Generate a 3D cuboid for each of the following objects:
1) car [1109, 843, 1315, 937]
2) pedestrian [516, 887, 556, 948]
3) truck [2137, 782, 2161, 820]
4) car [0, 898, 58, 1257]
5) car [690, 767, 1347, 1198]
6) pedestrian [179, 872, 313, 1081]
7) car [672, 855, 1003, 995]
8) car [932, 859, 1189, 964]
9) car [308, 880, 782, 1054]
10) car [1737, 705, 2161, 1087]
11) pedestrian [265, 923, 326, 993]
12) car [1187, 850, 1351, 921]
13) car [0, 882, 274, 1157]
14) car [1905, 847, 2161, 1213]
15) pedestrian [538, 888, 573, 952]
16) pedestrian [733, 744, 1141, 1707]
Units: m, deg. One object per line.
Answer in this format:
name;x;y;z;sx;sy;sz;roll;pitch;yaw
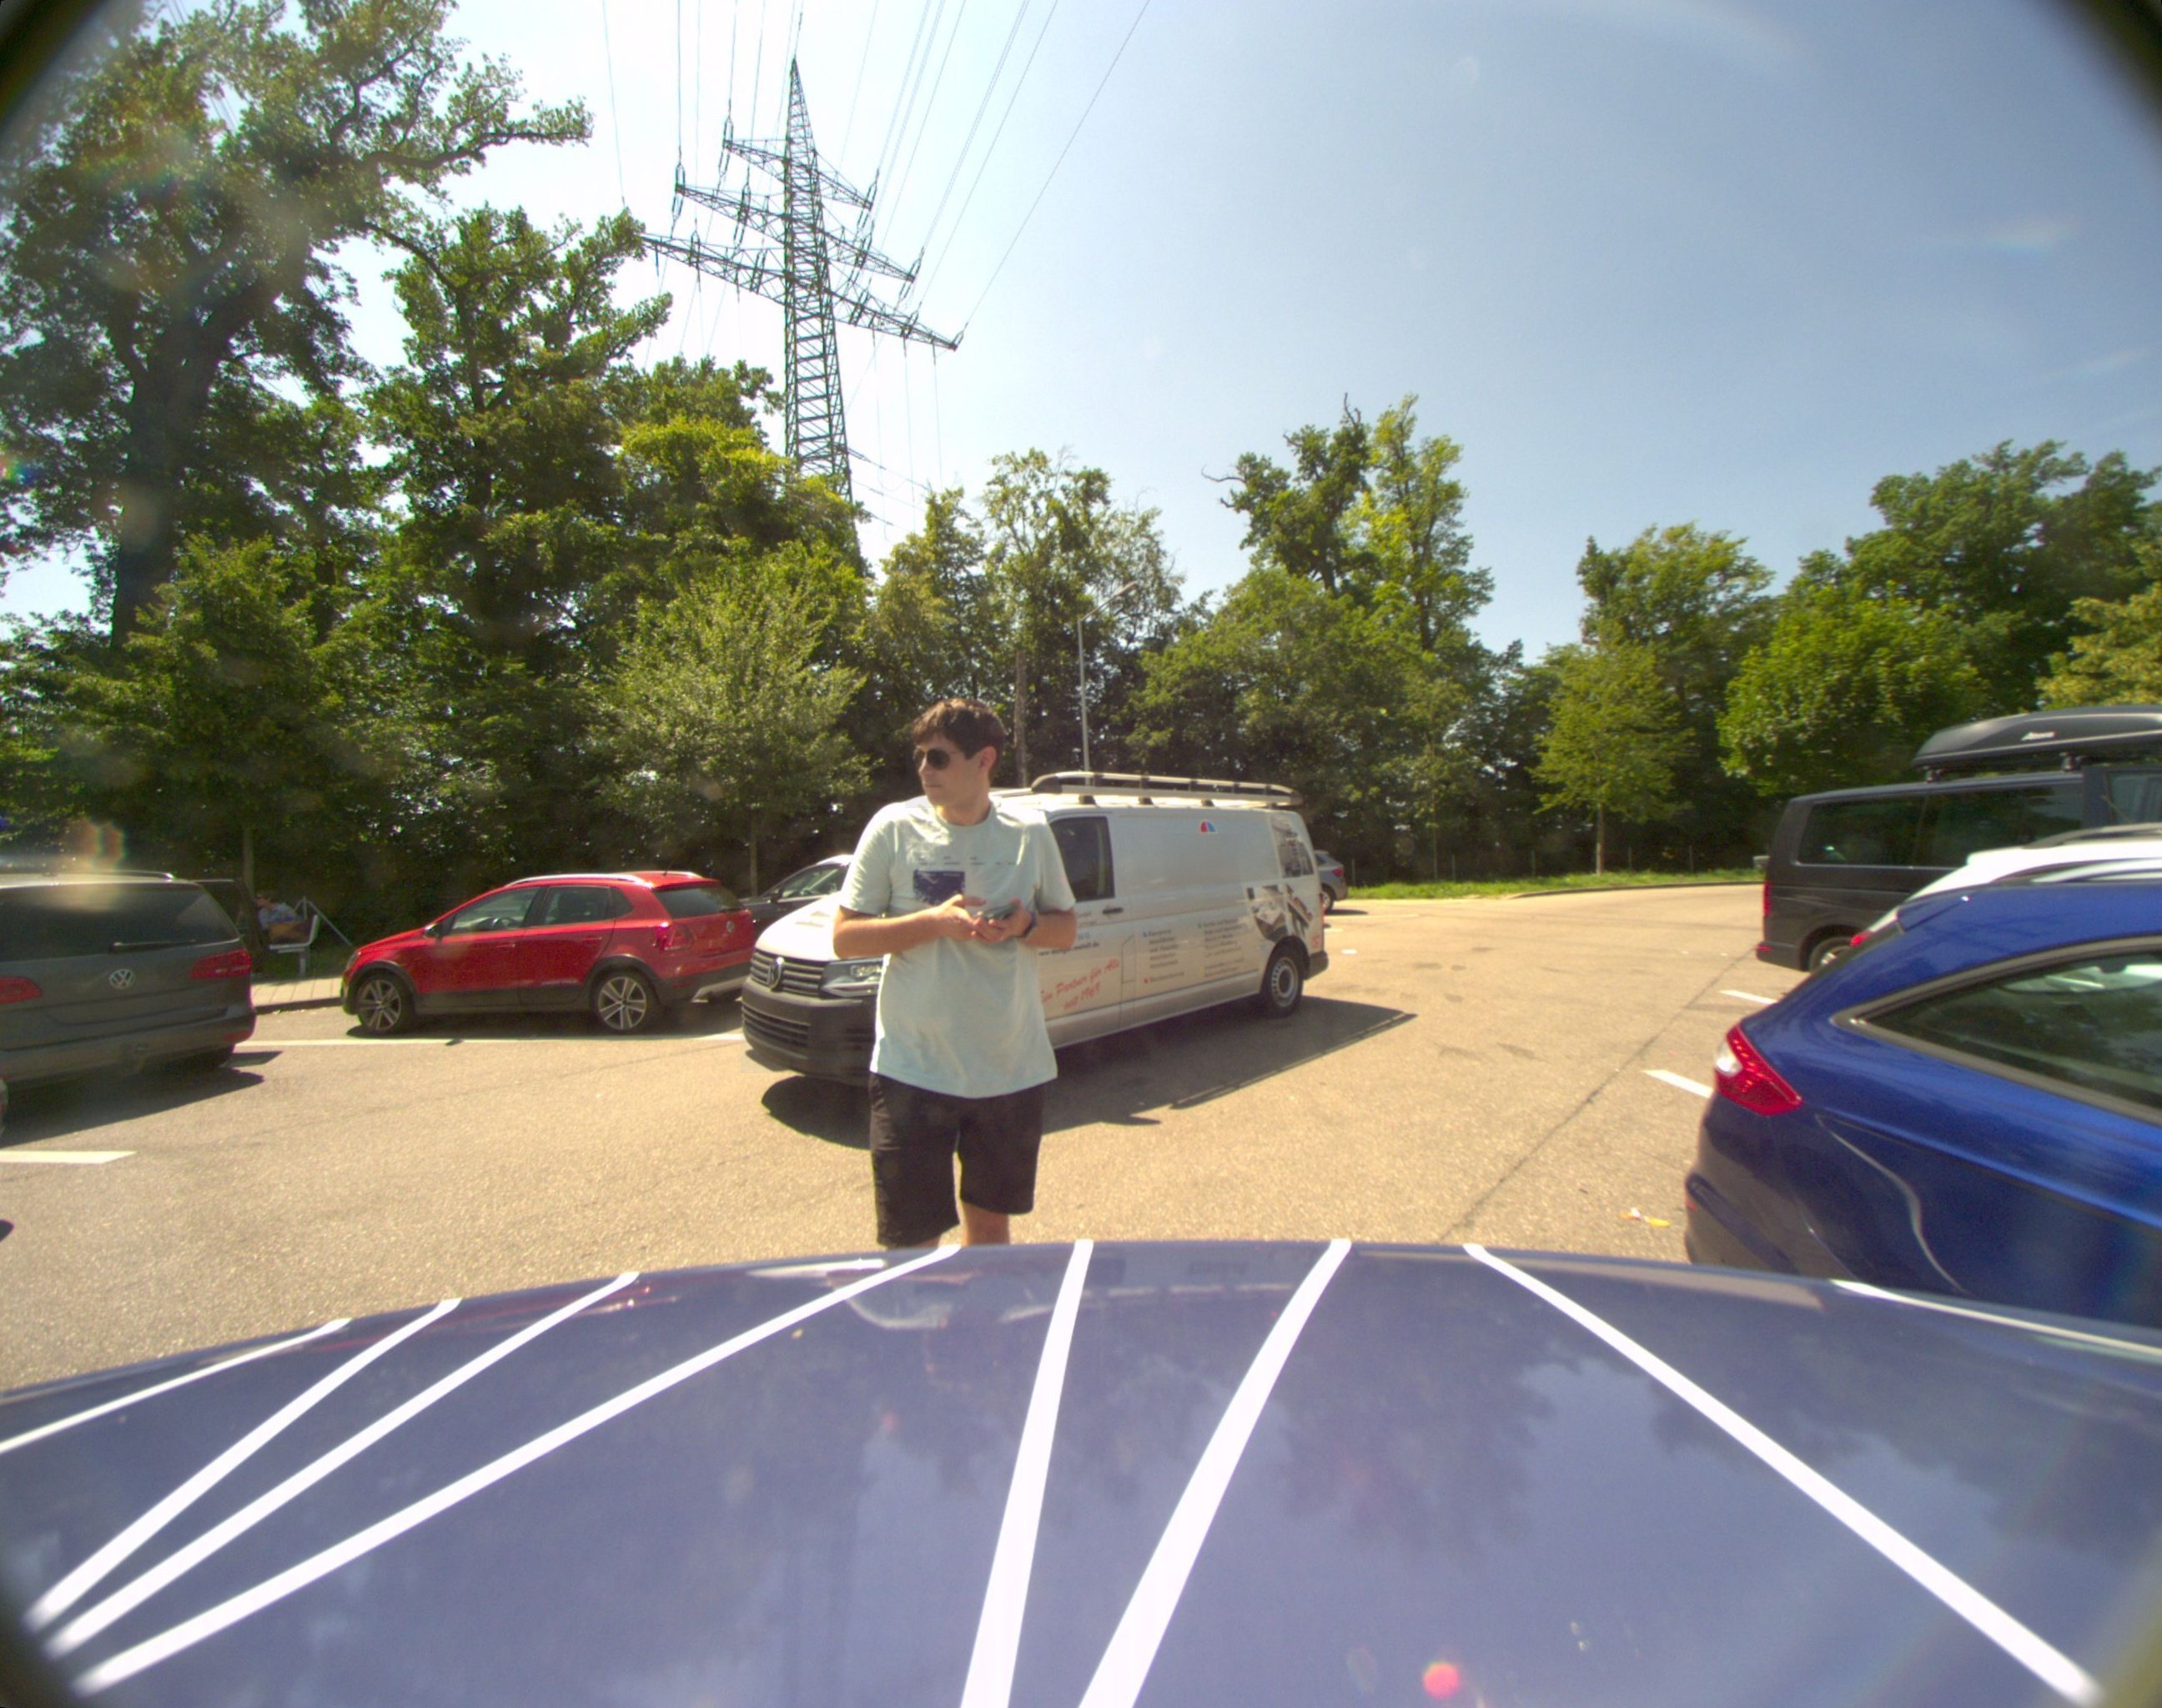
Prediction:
car;2.561;0.700;15.438;3.850;1.678;1.755;-2;0;4
pedestrian;-11.019;1.284;15.362;0.413;1.186;0.443;-2;1;12
truck;40.286;-1.981;27.069;1.168;1.367;2.882;-2;-1;-19
car;-6.489;1.049;1.961;4.173;1.607;1.835;-2;0;-27
car;0.042;0.589;6.250;5.445;2.092;1.839;-2;1;-45
pedestrian;-7.319;1.036;6.677;0.481;1.712;0.589;-2;1;22
car;-3.103;0.893;10.263;3.866;1.607;1.709;-2;0;0
car;-0.252;0.877;12.199;3.773;1.445;1.848;-2;0;4
car;-5.240;1.073;7.687;3.745;1.458;1.621;-2;0;7
car;7.341;0.236;5.258;1.788;2.304;4.084;-2;0;-5
pedestrian;-10.839;1.417;10.501;0.503;0.873;0.512;-2;0;-39
car;4.372;0.722;18.132;3.585;1.493;1.707;-2;1;8
car;-8.433;1.104;5.469;3.903;1.607;1.705;-2;1;11
car;4.720;0.651;2.171;1.344;1.352;3.114;-2;0;1
pedestrian;-10.080;1.255;14.572;0.366;1.186;0.356;-2;1;21
pedestrian;-0.365;0.705;1.858;0.741;1.818;0.613;-2;0;-34
